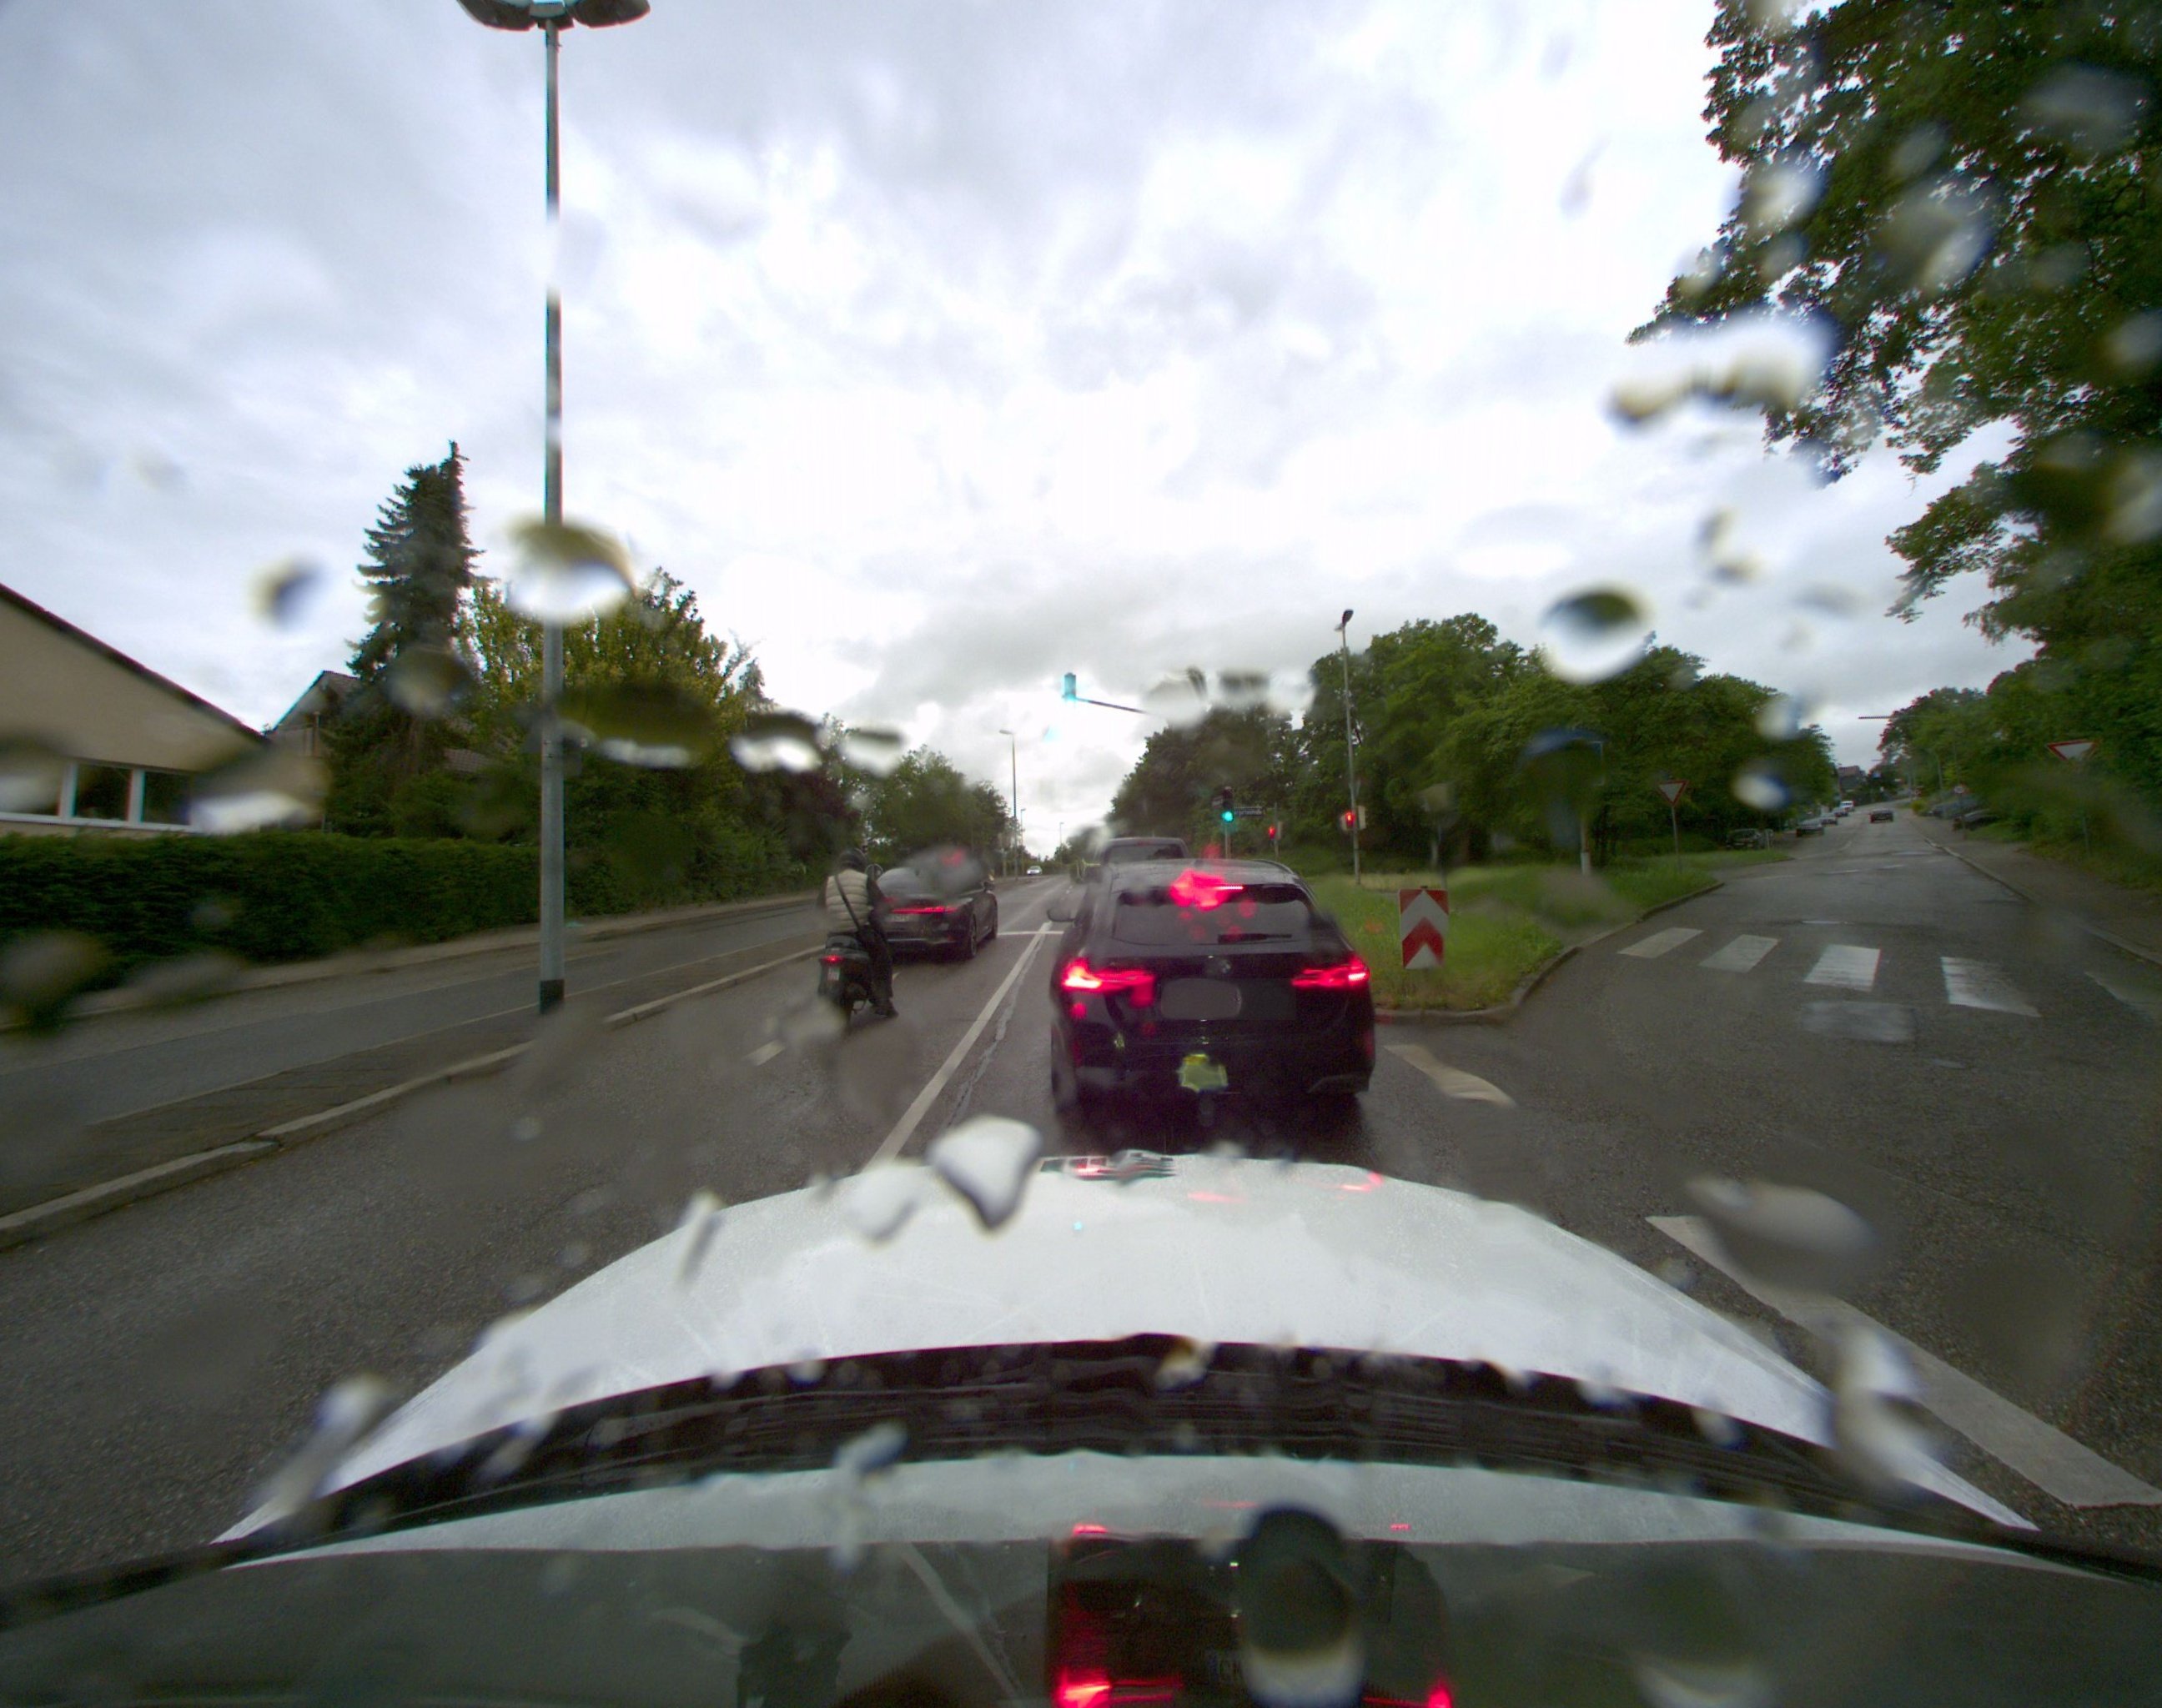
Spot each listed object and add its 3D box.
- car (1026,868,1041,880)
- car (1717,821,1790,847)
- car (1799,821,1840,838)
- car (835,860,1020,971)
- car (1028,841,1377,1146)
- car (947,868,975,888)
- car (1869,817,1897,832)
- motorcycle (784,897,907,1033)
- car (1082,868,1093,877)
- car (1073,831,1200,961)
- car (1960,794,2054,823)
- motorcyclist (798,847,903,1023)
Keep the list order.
[{"bbox_3d":[-6.932,2.934,119.081,1.721,1.485,4.157,-4,0,1],"label":"car"},{"bbox_3d":[45.912,-1.342,55.622,3.994,1.571,1.819,-2,0,-15],"label":"car"},{"bbox_3d":[66.382,-2.172,73.169,4.014,1.446,1.686,0,-1,-32],"label":"car"},{"bbox_3d":[-2.251,0.857,13.287,2.007,1.415,4.488,-1,0,2],"label":"car"},{"bbox_3d":[0.678,0.736,6.010,1.758,1.536,3.674,-1,-1,2],"label":"car"},{"bbox_3d":[-10.198,1.987,69.222,1.858,1.492,3.830,-3,0,-2],"label":"car"},{"bbox_3d":[88.556,-3.234,89.950,1.921,1.458,4.242,-1,-1,41],"label":"car"},{"bbox_3d":[-2.248,1.025,7.952,0.738,1.119,1.427,-1,0,2],"label":"motorcycle"},{"bbox_3d":[1.201,3.648,158.980,2.018,1.563,3.877,-3,-1,1],"label":"car"},{"bbox_3d":[0.842,0.578,13.437,1.760,1.810,3.907,-1,0,2],"label":"car"},{"bbox_3d":[61.055,-2.975,53.802,1.969,1.648,3.950,-2,0,-45],"label":"car"},{"bbox_3d":[-2.236,0.763,7.948,0.842,1.647,0.468,-1,0,1],"label":"motorcyclist"}]
